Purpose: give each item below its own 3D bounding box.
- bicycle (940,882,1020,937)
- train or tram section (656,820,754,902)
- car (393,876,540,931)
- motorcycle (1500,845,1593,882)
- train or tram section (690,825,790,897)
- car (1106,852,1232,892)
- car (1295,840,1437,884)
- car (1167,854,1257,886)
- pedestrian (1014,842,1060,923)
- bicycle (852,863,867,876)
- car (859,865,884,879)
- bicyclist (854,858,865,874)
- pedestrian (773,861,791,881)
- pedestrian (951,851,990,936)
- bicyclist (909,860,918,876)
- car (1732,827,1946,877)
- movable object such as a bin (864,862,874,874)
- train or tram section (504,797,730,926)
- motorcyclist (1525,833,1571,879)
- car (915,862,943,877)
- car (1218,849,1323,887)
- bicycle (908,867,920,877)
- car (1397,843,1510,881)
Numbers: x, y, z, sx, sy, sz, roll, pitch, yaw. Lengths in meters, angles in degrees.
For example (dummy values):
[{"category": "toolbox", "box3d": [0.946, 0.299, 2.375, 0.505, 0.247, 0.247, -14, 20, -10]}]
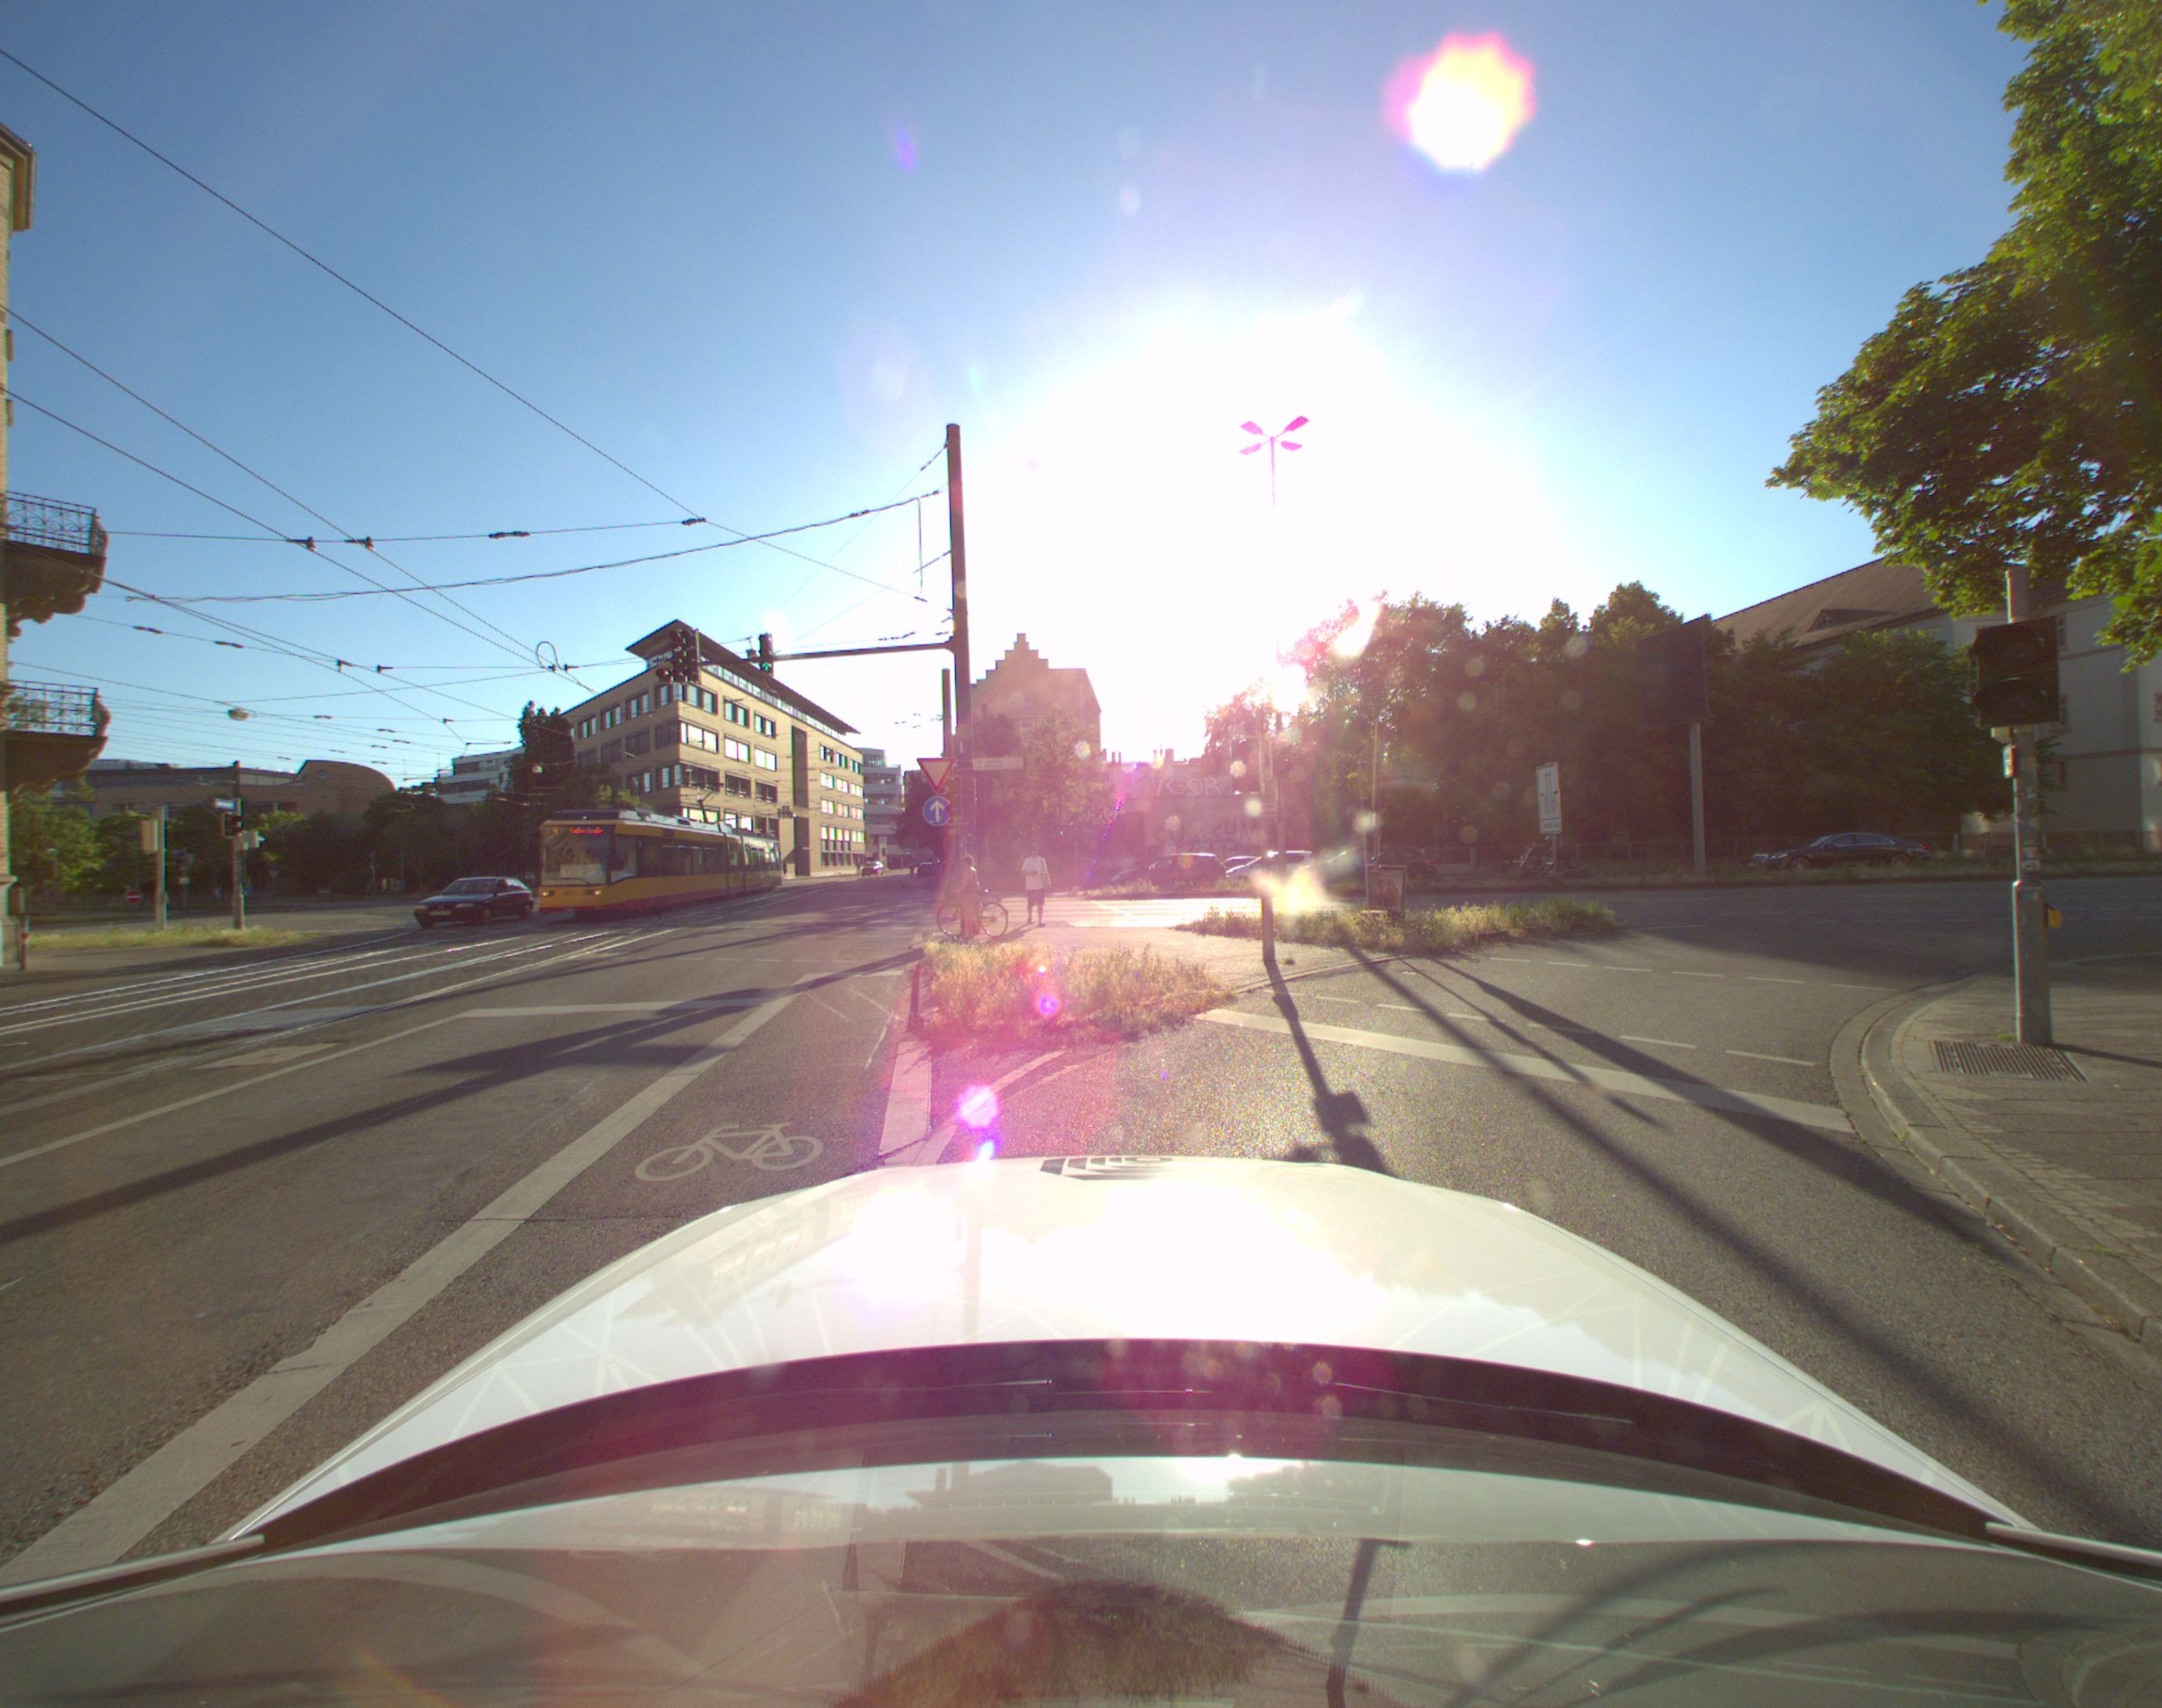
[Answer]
[{"category": "bicycle", "box3d": [-1.997, 1.080, 16.030, 1.650, 1.029, 0.402, -2, -1, 32]}, {"category": "train or tram section", "box3d": [-17.372, 0.320, 38.033, 2.862, 3.508, 5.283, -2, 0, -11]}, {"category": "car", "box3d": [-18.261, 1.412, 24.467, 1.809, 1.380, 4.148, -2, 0, -10]}, {"category": "motorcycle", "box3d": [14.958, 0.315, 26.242, 2.444, 1.108, 0.864, -2, -1, 13]}, {"category": "train or tram section", "box3d": [-18.965, 0.388, 46.143, 2.862, 3.508, 11.254, -2, 0, -11]}, {"category": "car", "box3d": [3.182, 0.633, 29.198, 4.203, 1.296, 1.731, -2, 0, 15]}, {"category": "car", "box3d": [9.488, 0.285, 27.469, 4.331, 1.296, 1.731, -2, 0, 13]}, {"category": "car", "box3d": [5.893, 0.710, 36.441, 3.856, 1.296, 1.730, -2, 0, 11]}, {"category": "pedestrian", "box3d": [-1.006, 0.642, 18.618, 0.909, 1.789, 0.824, -2, -1, -10]}, {"category": "bicycle", "box3d": [-27.514, 1.928, 101.307, 1.026, 1.651, 2.561, -2, -1, 2]}, {"category": "car", "box3d": [-24.668, 2.097, 95.989, 1.810, 1.614, 4.464, -2, 0, 0]}, {"category": "bicyclist", "box3d": [-27.510, 1.513, 101.236, 1.026, 2.014, 1.247, 0, -2, 1]}, {"category": "pedestrian", "box3d": [-31.725, 1.784, 86.429, 1.236, 2.014, 1.554, -2, -1, -1]}, {"category": "pedestrian", "box3d": [-2.169, 0.771, 16.019, 0.519, 1.631, 0.492, -2, -1, 32]}, {"category": "bicyclist", "box3d": [-16.280, 1.321, 79.167, 0.671, 1.522, 0.814, -2, -1, 1]}, {"category": "car", "box3d": [26.163, -0.069, 28.304, 5.246, 1.496, 2.004, -2, 0, 7]}, {"category": "movable object such as a bin", "box3d": [-29.306, 1.887, 112.513, 1.063, 1.628, 0.888, -2, -1, -2]}, {"category": "train or tram section", "box3d": [-15.642, 0.267, 29.081, 2.862, 3.508, 12.965, -2, 0, -11]}, {"category": "motorcyclist", "box3d": [15.027, 0.066, 26.231, 1.050, 1.398, 0.857, -2, -1, 14]}, {"category": "car", "box3d": [-14.662, 1.465, 78.574, 1.778, 1.388, 4.002, -2, 0, 2]}, {"category": "car", "box3d": [7.373, 0.544, 31.851, 3.856, 1.319, 1.730, -2, 0, 11]}, {"category": "bicycle", "box3d": [-16.261, 1.745, 79.178, 0.692, 0.877, 2.027, -2, 0, 1]}, {"category": "car", "box3d": [15.716, 0.333, 34.549, 3.966, 1.464, 1.863, -2, 0, 7]}]
